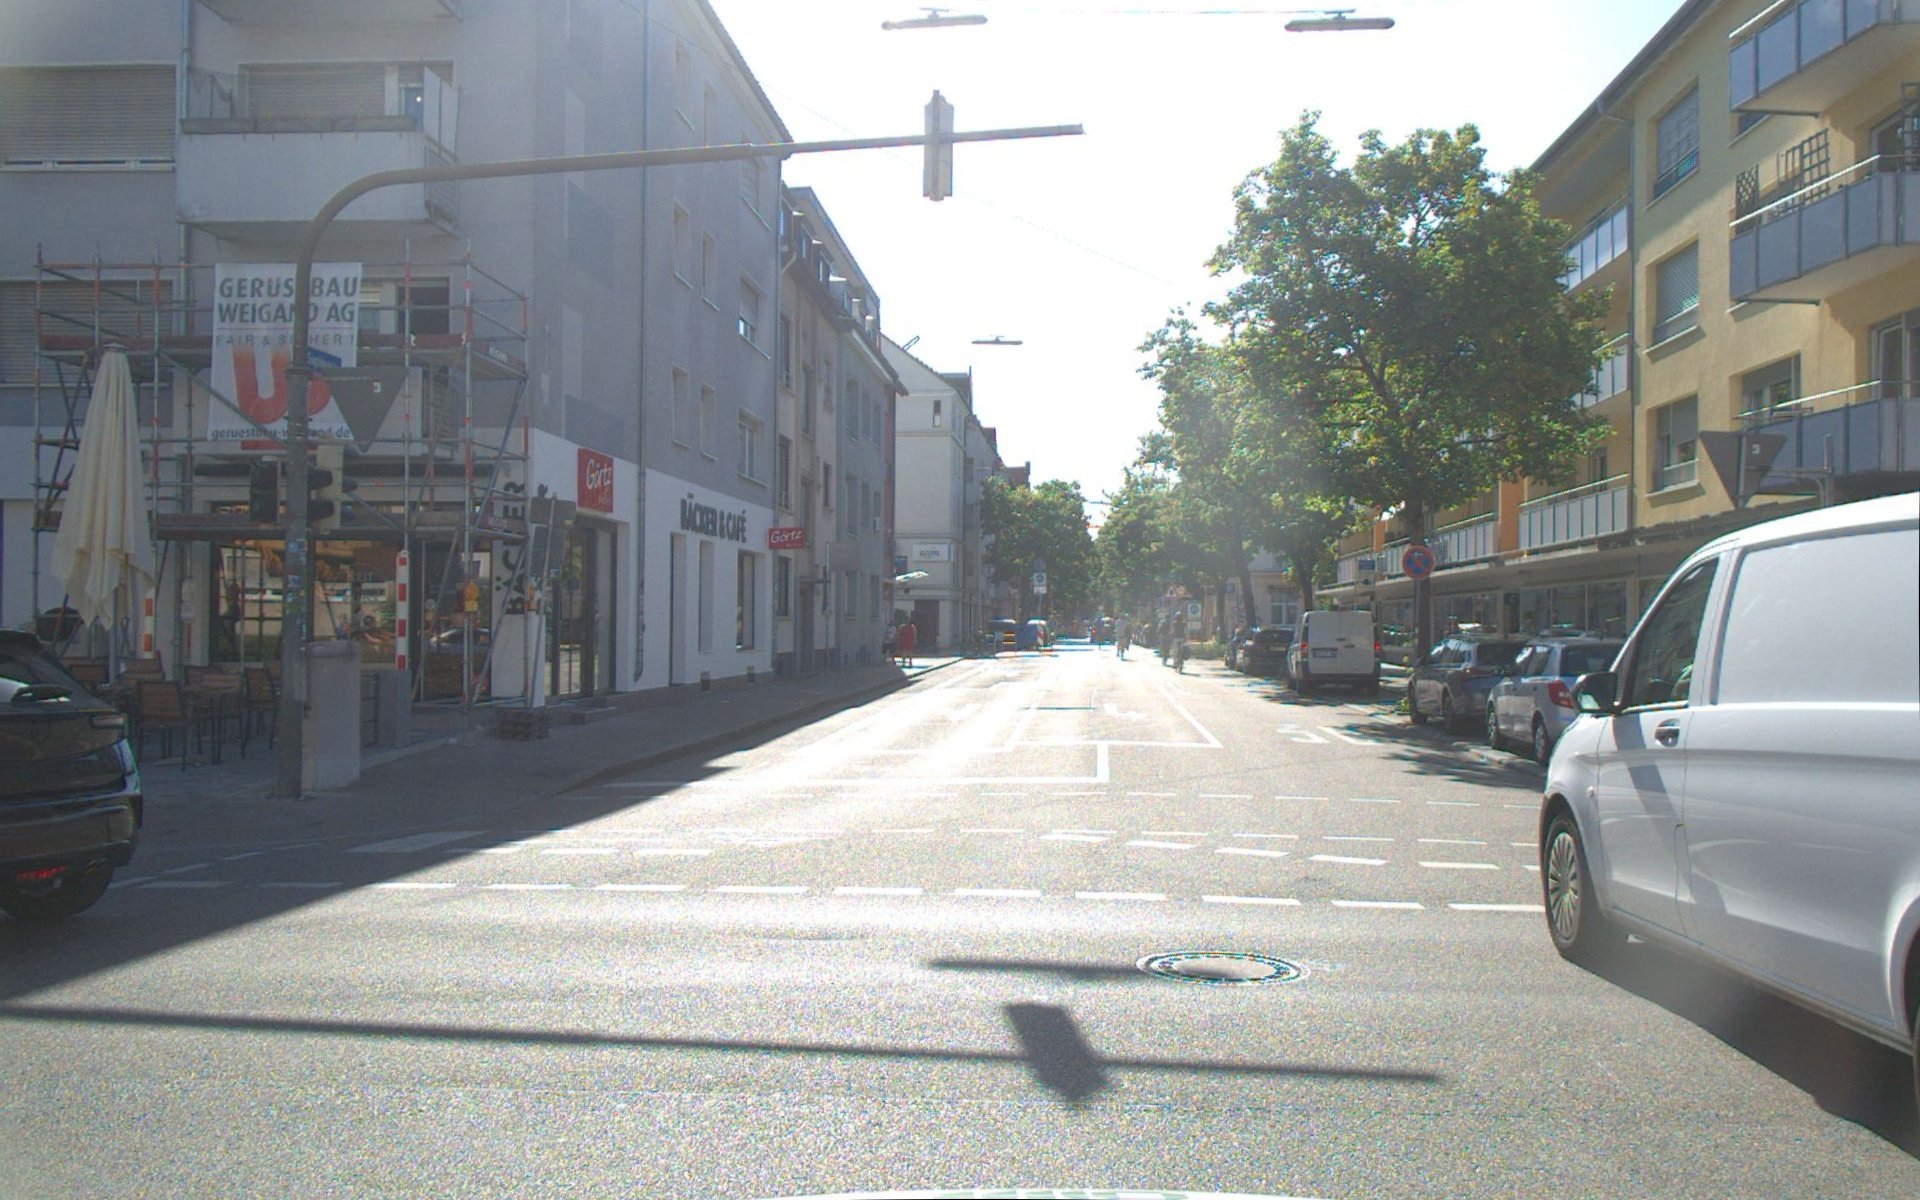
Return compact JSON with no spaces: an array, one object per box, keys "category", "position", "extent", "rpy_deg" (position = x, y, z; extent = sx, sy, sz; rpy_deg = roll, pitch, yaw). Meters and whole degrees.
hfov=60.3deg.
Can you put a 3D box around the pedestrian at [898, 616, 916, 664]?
[{"category":"pedestrian","position":[-1.770,1.333,55.370],"extent":[0.565,1.611,0.708],"rpy_deg":[0,-1,-1]}]

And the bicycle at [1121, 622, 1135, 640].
[{"category":"bicycle","position":[8.531,1.549,83.825],"extent":[0.677,0.881,1.877],"rpy_deg":[0,-1,5]}]

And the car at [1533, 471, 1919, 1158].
[{"category":"car","position":[3.594,0.600,5.479],"extent":[1.927,1.842,4.834],"rpy_deg":[0,-1,3]}]

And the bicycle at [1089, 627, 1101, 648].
[{"category":"bicycle","position":[6.941,1.920,85.109],"extent":[0.619,1.059,1.796],"rpy_deg":[0,-1,4]}]

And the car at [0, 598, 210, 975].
[{"category":"car","position":[-5.856,0.786,7.809],"extent":[3.902,1.586,1.769],"rpy_deg":[0,-1,12]}]

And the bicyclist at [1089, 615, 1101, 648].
[{"category":"bicyclist","position":[6.907,1.596,84.740],"extent":[0.619,1.698,1.051],"rpy_deg":[0,-1,4]}]

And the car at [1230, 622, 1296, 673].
[{"category":"car","position":[9.411,1.450,51.548],"extent":[1.676,1.509,3.382],"rpy_deg":[0,-1,4]}]

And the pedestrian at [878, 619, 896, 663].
[{"category":"pedestrian","position":[-2.457,1.386,55.848],"extent":[0.565,1.493,0.702],"rpy_deg":[0,-1,-1]}]

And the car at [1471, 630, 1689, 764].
[{"category":"car","position":[7.691,1.146,20.847],"extent":[1.676,1.509,3.482],"rpy_deg":[0,-1,4]}]

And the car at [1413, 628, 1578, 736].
[{"category":"car","position":[8.153,1.207,25.454],"extent":[1.676,1.509,3.382],"rpy_deg":[0,-1,4]}]

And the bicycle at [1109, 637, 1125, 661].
[{"category":"bicycle","position":[6.162,1.904,64.773],"extent":[0.607,0.881,1.877],"rpy_deg":[0,-1,5]}]

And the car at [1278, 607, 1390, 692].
[{"category":"car","position":[8.726,1.122,38.959],"extent":[2.003,1.879,4.586],"rpy_deg":[0,-1,5]}]

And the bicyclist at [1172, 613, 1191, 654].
[{"category":"bicyclist","position":[6.876,1.033,51.352],"extent":[0.535,1.284,0.803],"rpy_deg":[0,-1,5]}]

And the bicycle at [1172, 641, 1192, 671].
[{"category":"bicycle","position":[6.872,1.721,51.331],"extent":[0.535,0.881,1.877],"rpy_deg":[0,-1,5]}]

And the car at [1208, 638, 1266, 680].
[{"category":"car","position":[9.579,2.026,57.362],"extent":[1.676,1.337,3.382],"rpy_deg":[0,-1,4]}]

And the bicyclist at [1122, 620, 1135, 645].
[{"category":"bicyclist","position":[8.530,1.646,83.815],"extent":[0.677,1.214,0.595],"rpy_deg":[0,-1,5]}]

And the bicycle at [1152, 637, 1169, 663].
[{"category":"bicycle","position":[7.163,1.788,59.204],"extent":[0.535,0.881,1.877],"rpy_deg":[0,-1,5]}]

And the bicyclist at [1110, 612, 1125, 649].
[{"category":"bicyclist","position":[6.163,1.190,64.705],"extent":[0.576,1.407,0.823],"rpy_deg":[0,-1,5]}]

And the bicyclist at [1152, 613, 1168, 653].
[{"category":"bicyclist","position":[7.159,1.180,59.197],"extent":[0.535,1.407,0.823],"rpy_deg":[0,-1,5]}]
